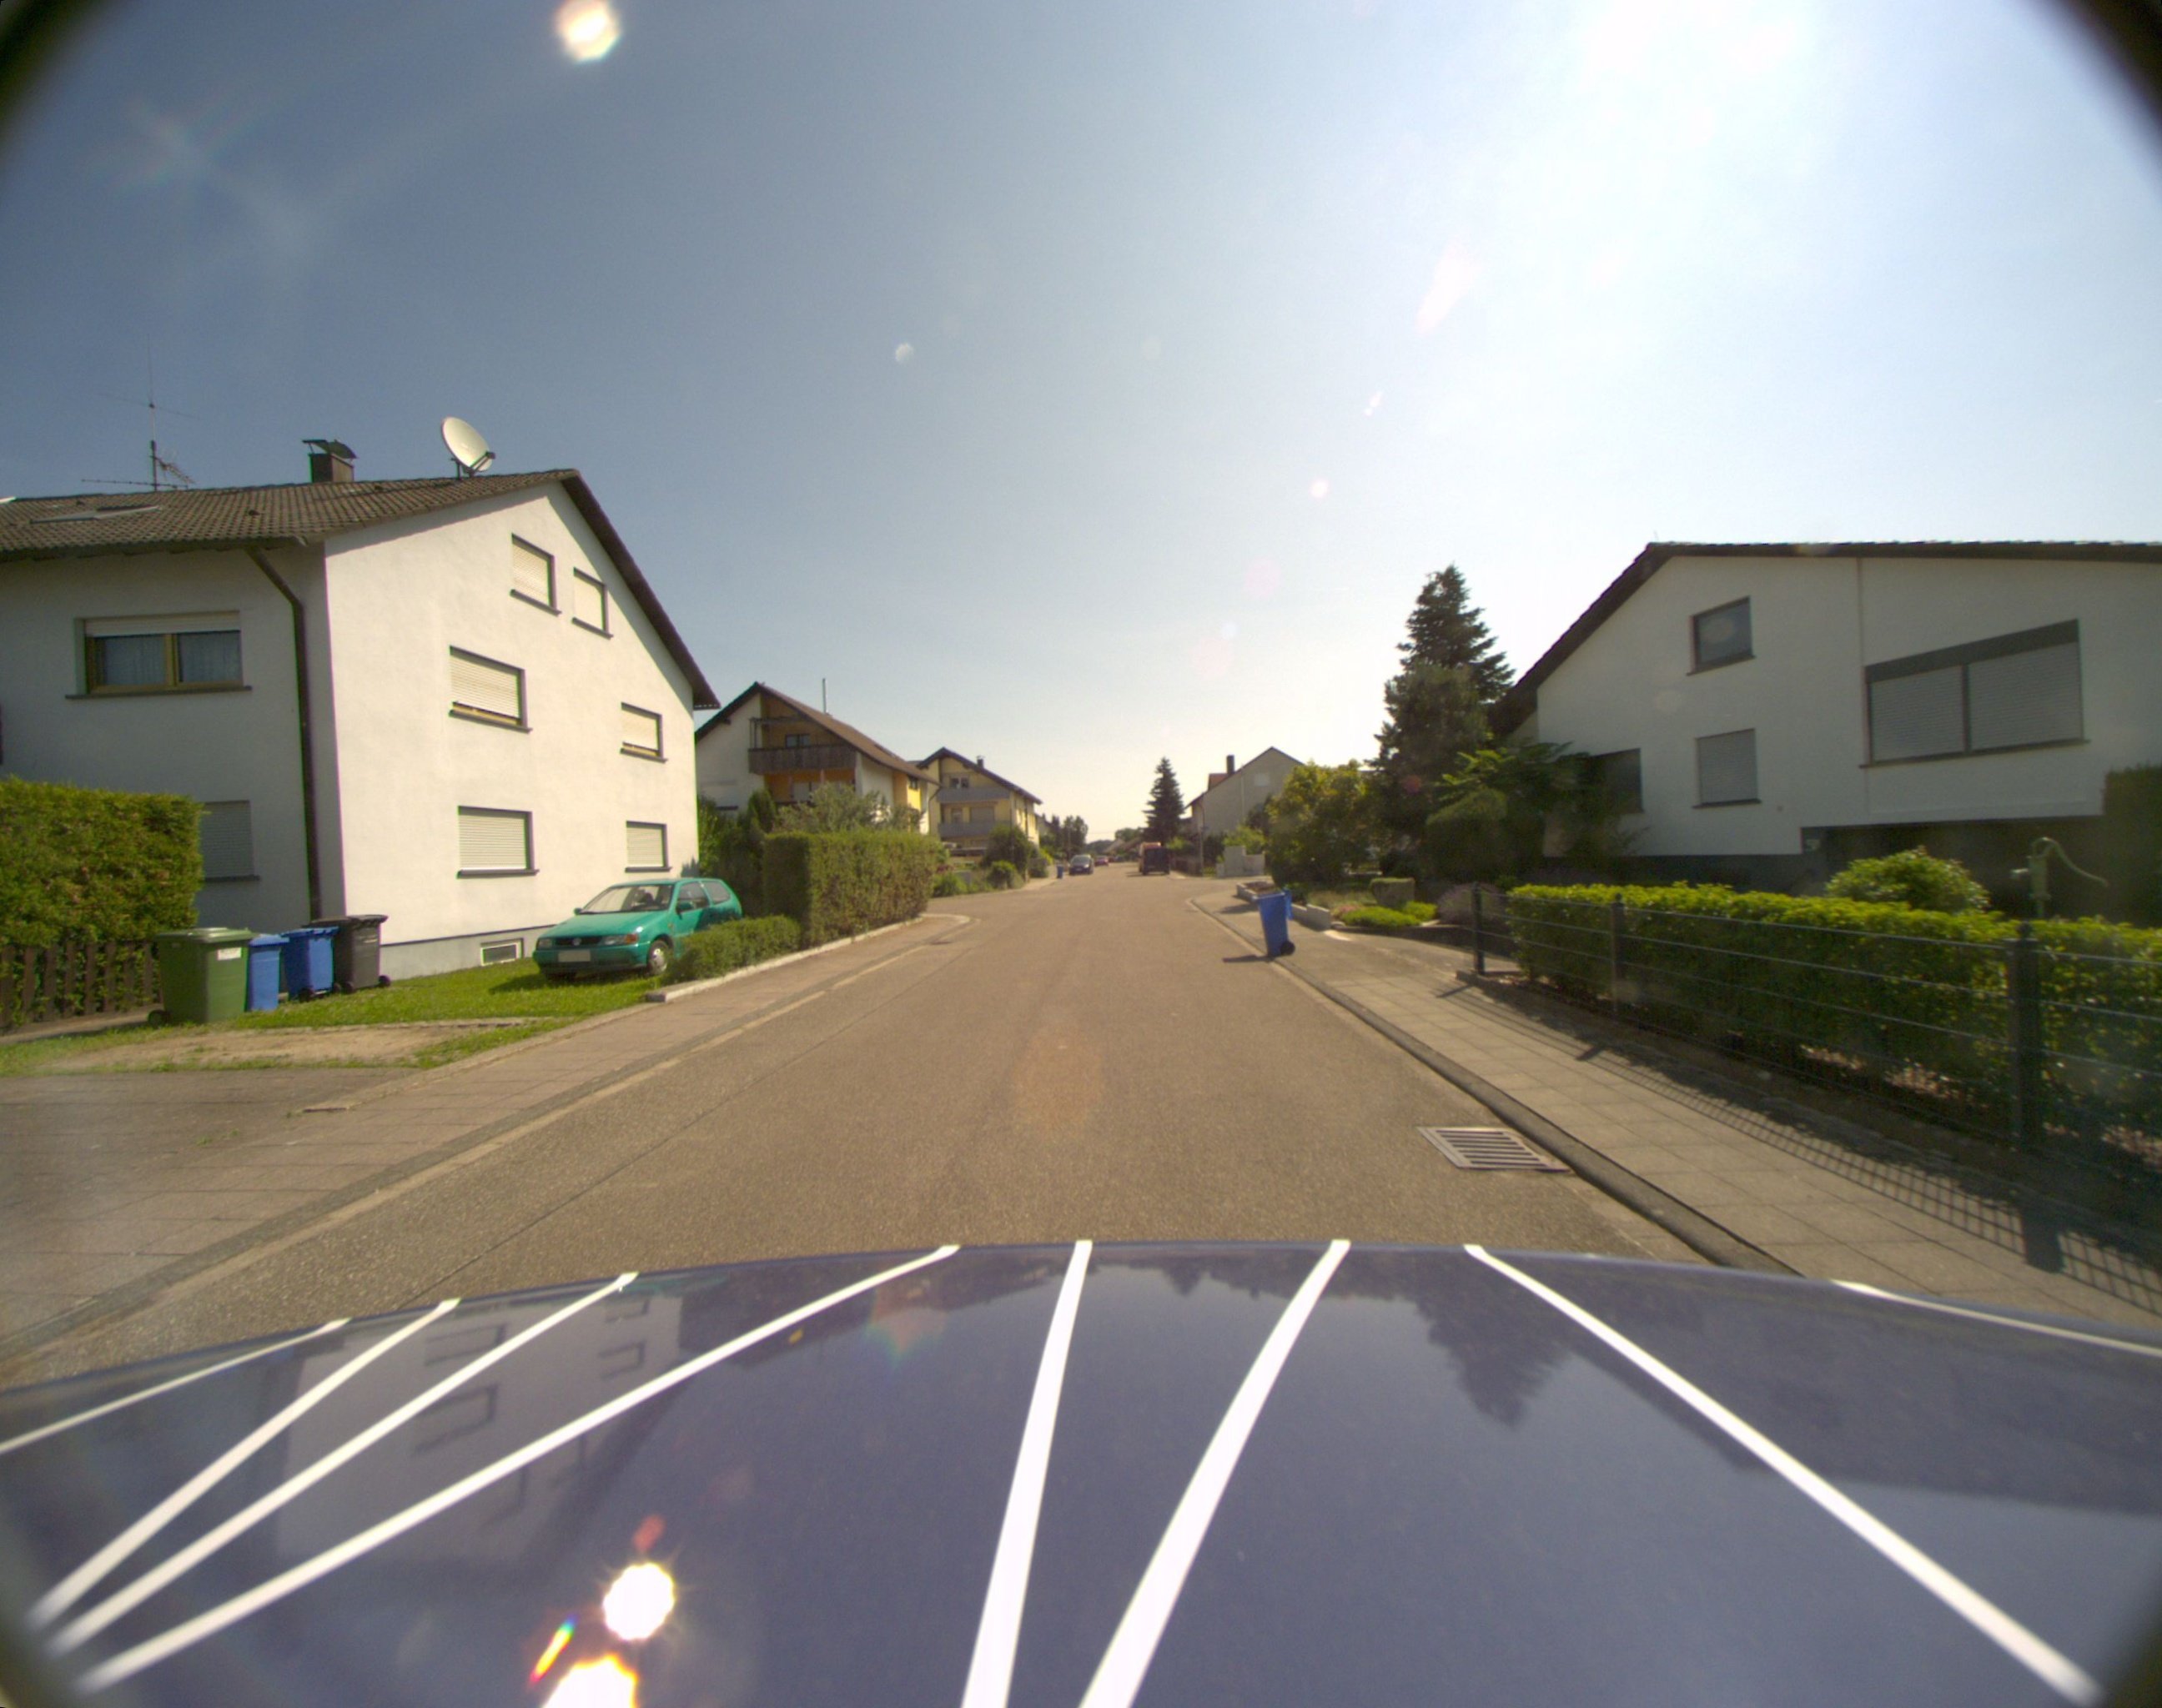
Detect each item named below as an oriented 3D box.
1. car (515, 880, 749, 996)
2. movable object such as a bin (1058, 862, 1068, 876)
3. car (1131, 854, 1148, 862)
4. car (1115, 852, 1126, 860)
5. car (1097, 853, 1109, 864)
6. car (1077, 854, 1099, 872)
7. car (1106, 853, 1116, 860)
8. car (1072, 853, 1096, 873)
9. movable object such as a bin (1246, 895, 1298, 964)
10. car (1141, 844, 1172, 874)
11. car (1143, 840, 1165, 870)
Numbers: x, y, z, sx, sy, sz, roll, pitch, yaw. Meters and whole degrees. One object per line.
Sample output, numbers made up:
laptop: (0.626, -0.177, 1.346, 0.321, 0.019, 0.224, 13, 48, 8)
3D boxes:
car: (-6.742, 1.182, 11.878, 1.498, 1.351, 3.526, -2, 0, 0)
movable object such as a bin: (-1.294, 1.079, 54.868, 0.584, 0.911, 0.598, -3, 1, 2)
car: (12.819, 0.930, 166.655, 3.413, 1.521, 1.638, -3, 1, -3)
car: (8.261, 0.412, 157.698, 1.709, 1.332, 3.999, -3, -1, -5)
car: (3.101, 0.614, 106.610, 1.517, 1.398, 3.677, -3, 0, 1)
car: (0.679, 0.812, 70.255, 1.631, 1.616, 4.001, -3, 0, 5)
car: (6.796, 0.643, 170.268, 1.709, 1.332, 3.999, -3, -1, -5)
car: (0.271, 0.753, 64.367, 1.631, 1.616, 4.001, -3, 0, 5)
movable object such as a bin: (2.766, 1.091, 11.054, 0.584, 0.911, 0.598, -3, 1, 2)
car: (5.364, 0.333, 54.263, 1.869, 1.927, 4.205, -3, 0, 2)
car: (6.073, 0.091, 63.457, 1.555, 2.310, 4.205, -3, 0, 2)
